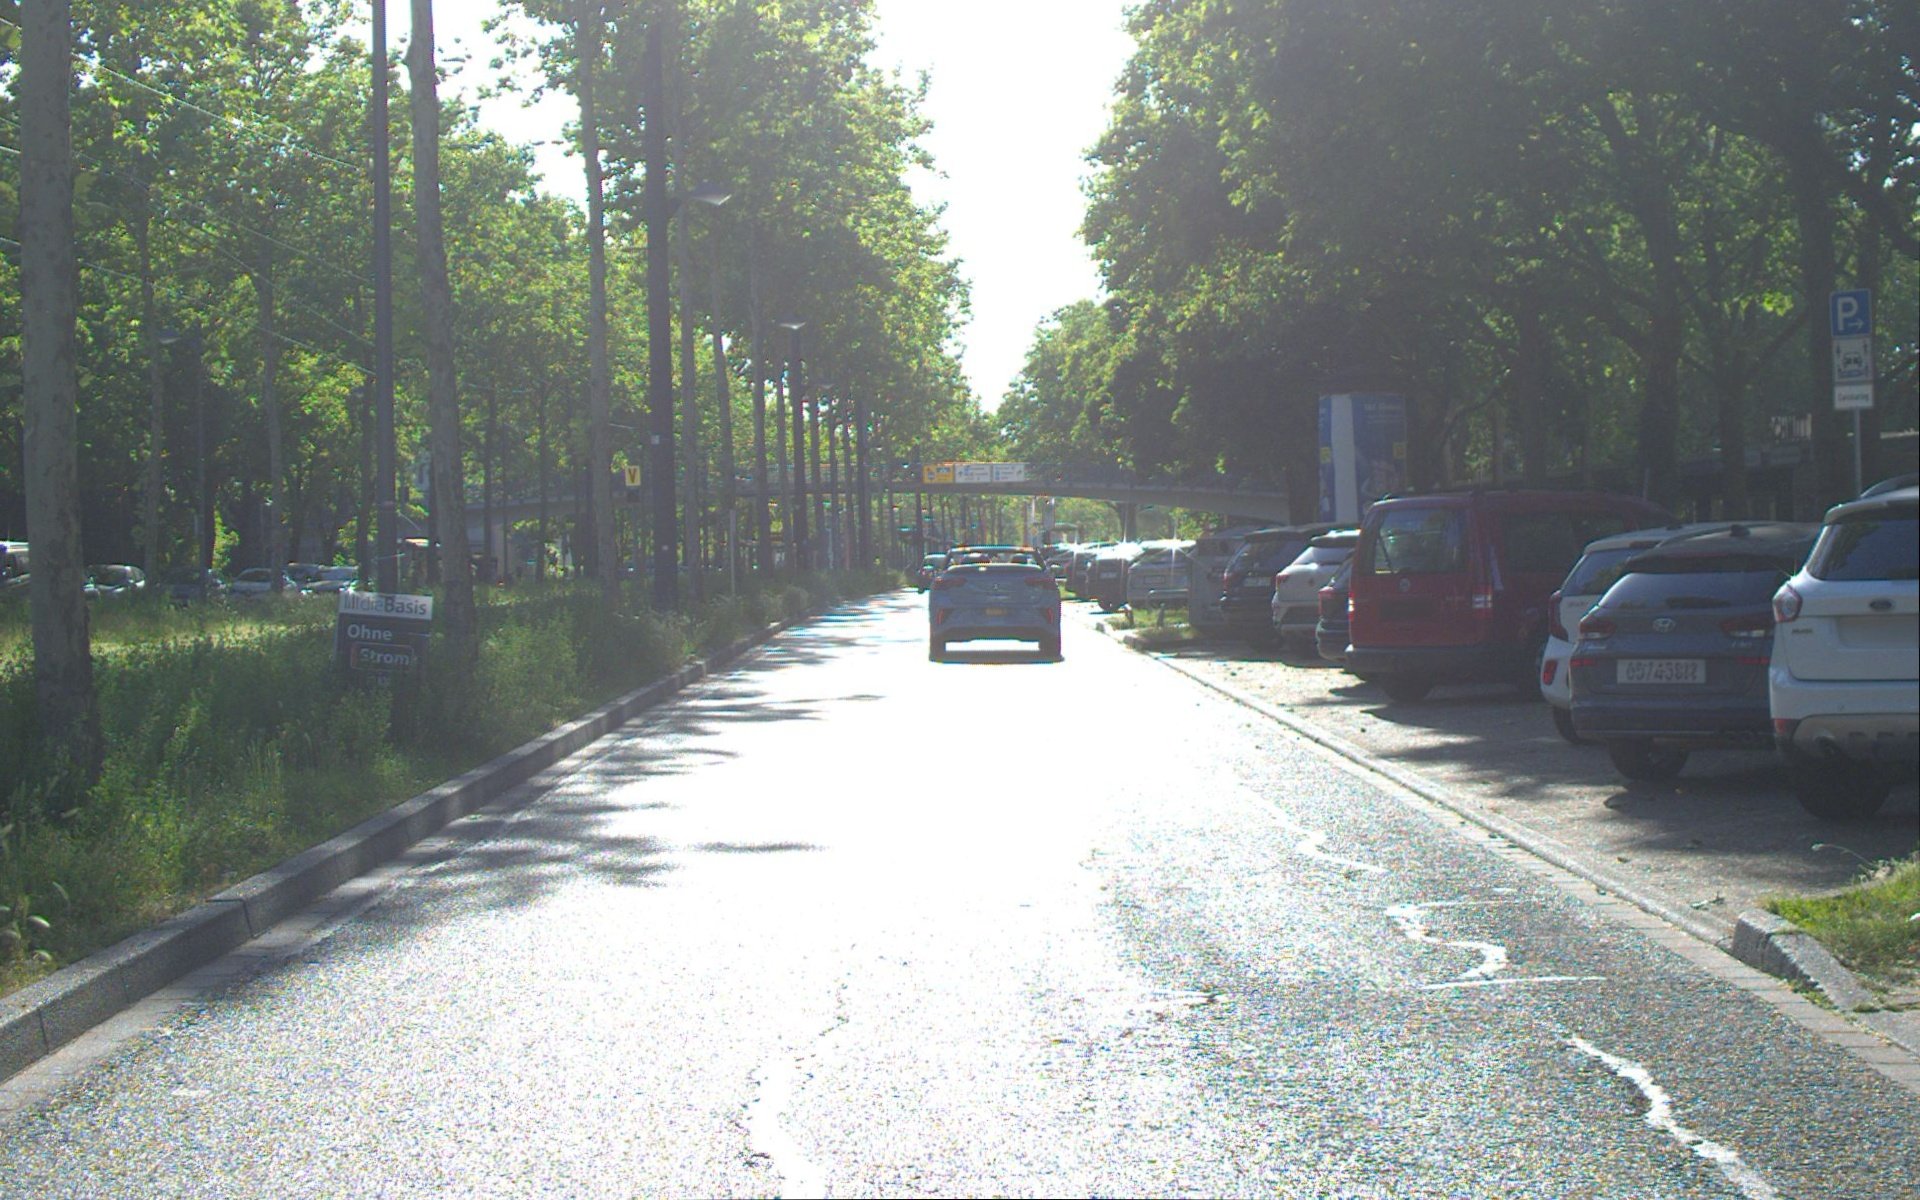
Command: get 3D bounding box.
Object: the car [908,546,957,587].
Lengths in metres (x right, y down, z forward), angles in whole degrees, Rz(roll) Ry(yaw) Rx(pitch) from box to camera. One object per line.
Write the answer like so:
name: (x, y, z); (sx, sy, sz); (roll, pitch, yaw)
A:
car: (-1.063, -1.332, 135.680); (1.849, 1.530, 3.866); (-1, 1, 0)

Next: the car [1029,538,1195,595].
car: (4.207, -0.929, 94.471); (1.978, 1.454, 4.613); (-1, 1, 44)

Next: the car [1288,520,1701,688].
car: (5.398, 0.018, 34.535); (4.073, 1.476, 1.651); (-3, 1, -36)

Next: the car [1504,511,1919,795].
car: (5.067, 0.242, 20.314); (3.777, 1.465, 1.650); (-3, 1, -43)

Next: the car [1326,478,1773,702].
car: (5.335, -0.121, 30.846); (4.073, 1.804, 1.650); (-3, 1, -40)

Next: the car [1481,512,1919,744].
car: (5.447, 0.161, 24.350); (1.650, 1.443, 3.618); (-1, 1, 44)

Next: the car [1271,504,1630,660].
car: (5.591, -0.224, 38.931); (4.074, 1.576, 1.780); (-3, 1, -42)

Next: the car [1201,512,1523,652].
car: (5.316, -0.270, 45.139); (4.308, 1.711, 1.635); (-2, 1, -39)

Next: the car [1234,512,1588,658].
car: (5.515, -0.196, 41.870); (4.072, 1.576, 1.781); (-3, 1, -35)

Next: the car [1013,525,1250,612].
car: (3.266, -0.602, 64.903); (4.482, 1.438, 1.855); (-3, 1, -44)

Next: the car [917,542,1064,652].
car: (0.407, -0.077, 47.096); (1.922, 1.406, 4.000); (0, 1, 0)

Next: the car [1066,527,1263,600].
car: (4.534, -0.822, 75.816); (4.318, 1.420, 1.855); (-3, 1, -44)

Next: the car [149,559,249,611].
car: (-22.780, -0.471, 103.006); (1.993, 1.448, 4.000); (2, 1, 2)

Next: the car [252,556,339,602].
car: (-22.168, -0.709, 114.878); (1.993, 1.448, 4.000); (2, 1, 2)

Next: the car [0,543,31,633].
car: (-23.446, -0.295, 80.908); (1.645, 2.086, 4.915); (2, 1, 2)

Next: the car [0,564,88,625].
car: (-23.439, -0.154, 87.075); (1.645, 1.448, 3.663); (2, 1, 2)

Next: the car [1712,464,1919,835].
car: (5.743, 0.144, 17.224); (4.017, 1.699, 1.760); (-3, 1, -41)

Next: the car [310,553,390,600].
car: (-21.789, -0.870, 122.903); (1.993, 1.584, 4.168); (2, 1, 2)

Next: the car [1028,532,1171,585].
car: (4.478, -1.327, 109.951); (4.611, 1.674, 1.856); (-1, 1, -42)
